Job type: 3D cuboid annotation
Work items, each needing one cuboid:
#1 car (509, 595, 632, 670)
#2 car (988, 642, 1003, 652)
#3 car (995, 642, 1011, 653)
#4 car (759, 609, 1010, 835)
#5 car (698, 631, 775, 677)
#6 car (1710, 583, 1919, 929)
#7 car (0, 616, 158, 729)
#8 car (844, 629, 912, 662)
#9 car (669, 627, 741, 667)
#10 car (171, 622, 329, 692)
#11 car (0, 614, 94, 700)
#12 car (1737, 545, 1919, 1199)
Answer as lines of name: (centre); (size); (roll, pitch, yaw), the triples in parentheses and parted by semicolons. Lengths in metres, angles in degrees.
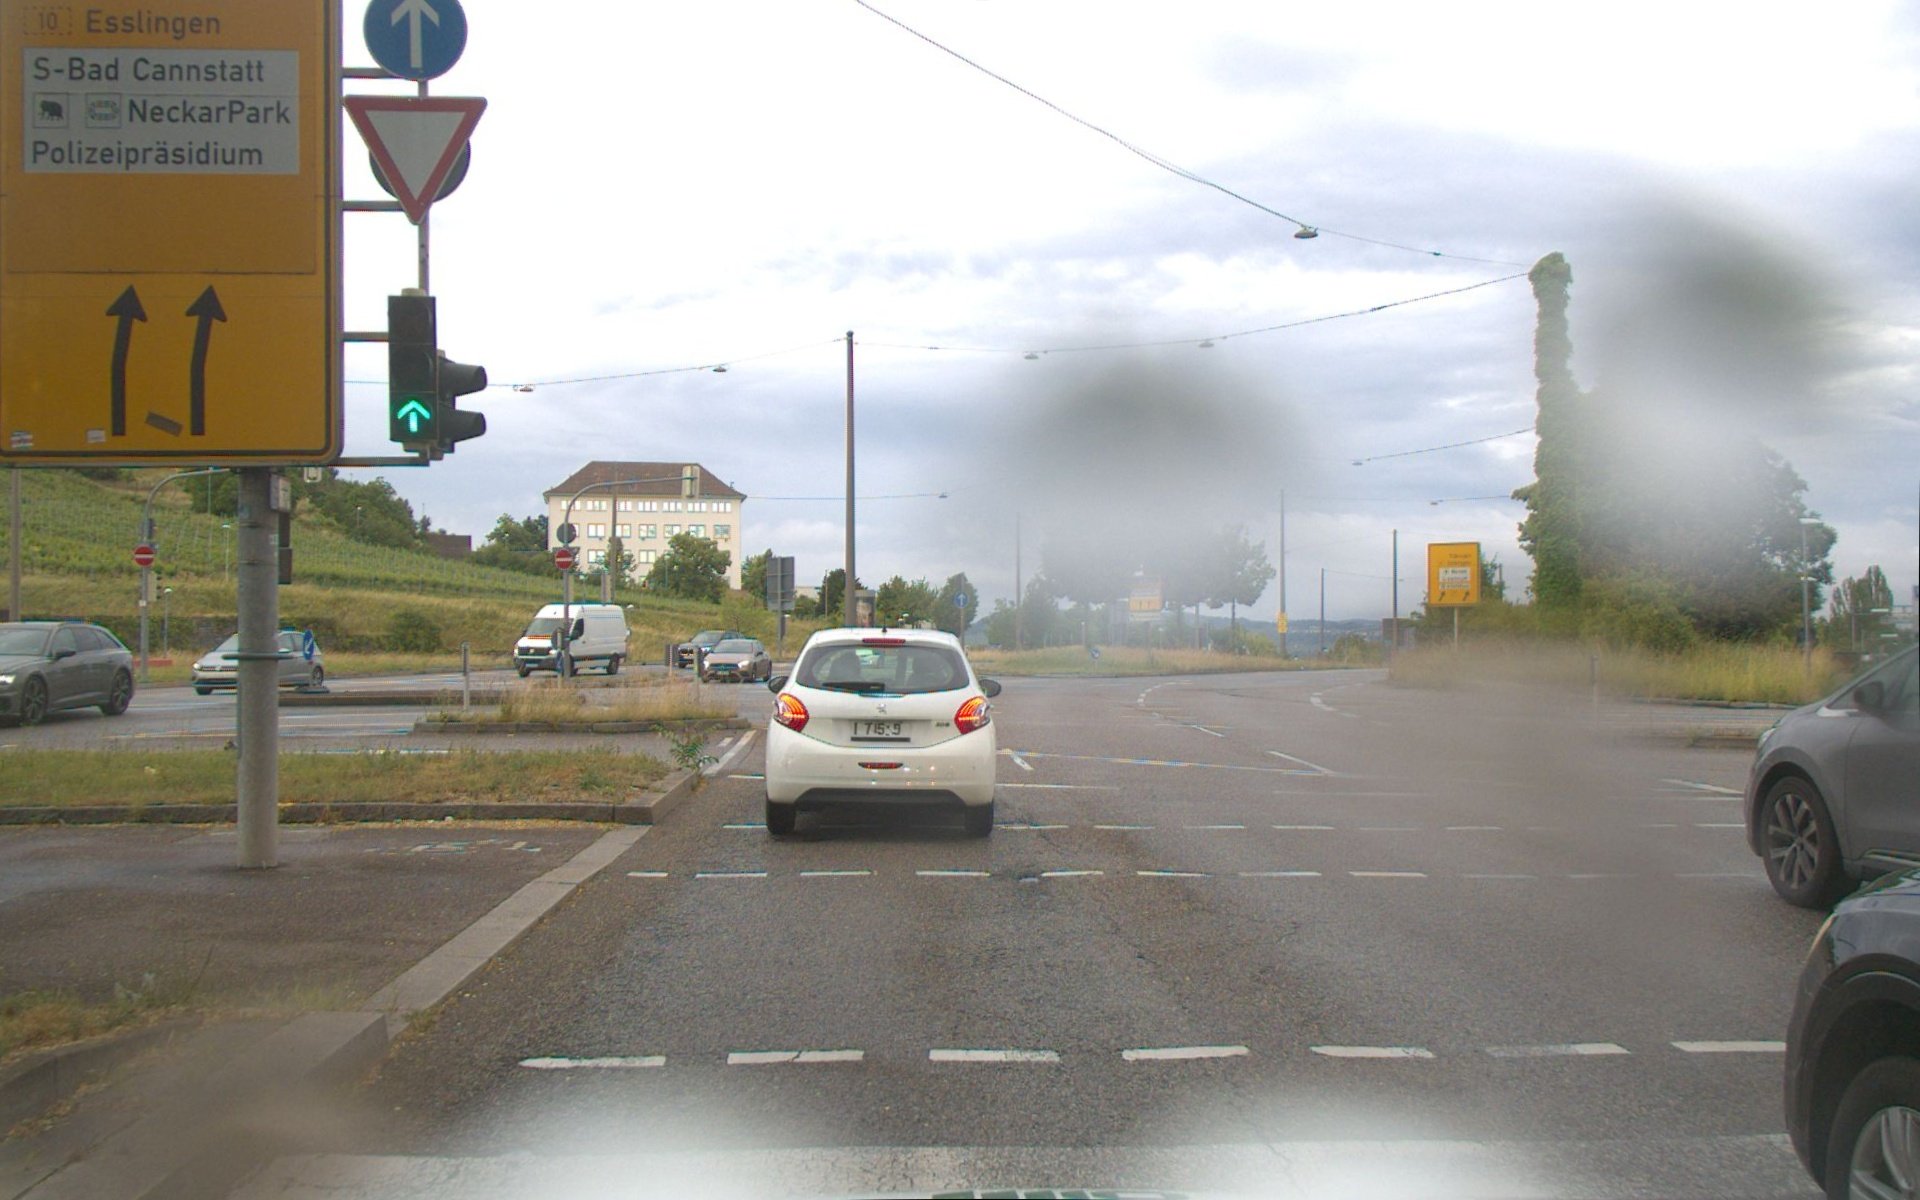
car: (-14.519, 1.249, 62.111); (1.951, 2.604, 6.174); (1, -2, 12)
car: (5.154, 6.770, 238.819); (1.805, 1.512, 3.997); (0, -1, -3)
car: (5.959, 6.584, 230.460); (1.805, 1.512, 3.997); (0, -1, -3)
car: (-0.579, 0.880, 13.243); (1.683, 1.515, 3.998); (1, -1, -2)
car: (-7.439, 1.799, 55.433); (1.738, 1.450, 4.375); (-1, -2, 4)
car: (5.662, 0.782, 7.950); (1.828, 1.704, 4.562); (1, 0, -4)
car: (-14.056, 1.011, 24.983); (1.864, 1.515, 4.886); (0, 0, -5)
car: (-4.042, 2.264, 82.074); (1.716, 1.539, 3.997); (1, -2, 24)
car: (-11.373, 2.117, 73.983); (1.738, 1.665, 4.512); (1, -2, 11)
car: (-17.642, 1.407, 41.325); (1.952, 1.603, 4.196); (2, -1, 2)
car: (-17.925, 1.021, 30.541); (1.789, 1.498, 4.662); (0, 0, -6)
car: (2.869, 0.698, 1.965); (1.846, 1.623, 4.111); (2, -1, -2)
